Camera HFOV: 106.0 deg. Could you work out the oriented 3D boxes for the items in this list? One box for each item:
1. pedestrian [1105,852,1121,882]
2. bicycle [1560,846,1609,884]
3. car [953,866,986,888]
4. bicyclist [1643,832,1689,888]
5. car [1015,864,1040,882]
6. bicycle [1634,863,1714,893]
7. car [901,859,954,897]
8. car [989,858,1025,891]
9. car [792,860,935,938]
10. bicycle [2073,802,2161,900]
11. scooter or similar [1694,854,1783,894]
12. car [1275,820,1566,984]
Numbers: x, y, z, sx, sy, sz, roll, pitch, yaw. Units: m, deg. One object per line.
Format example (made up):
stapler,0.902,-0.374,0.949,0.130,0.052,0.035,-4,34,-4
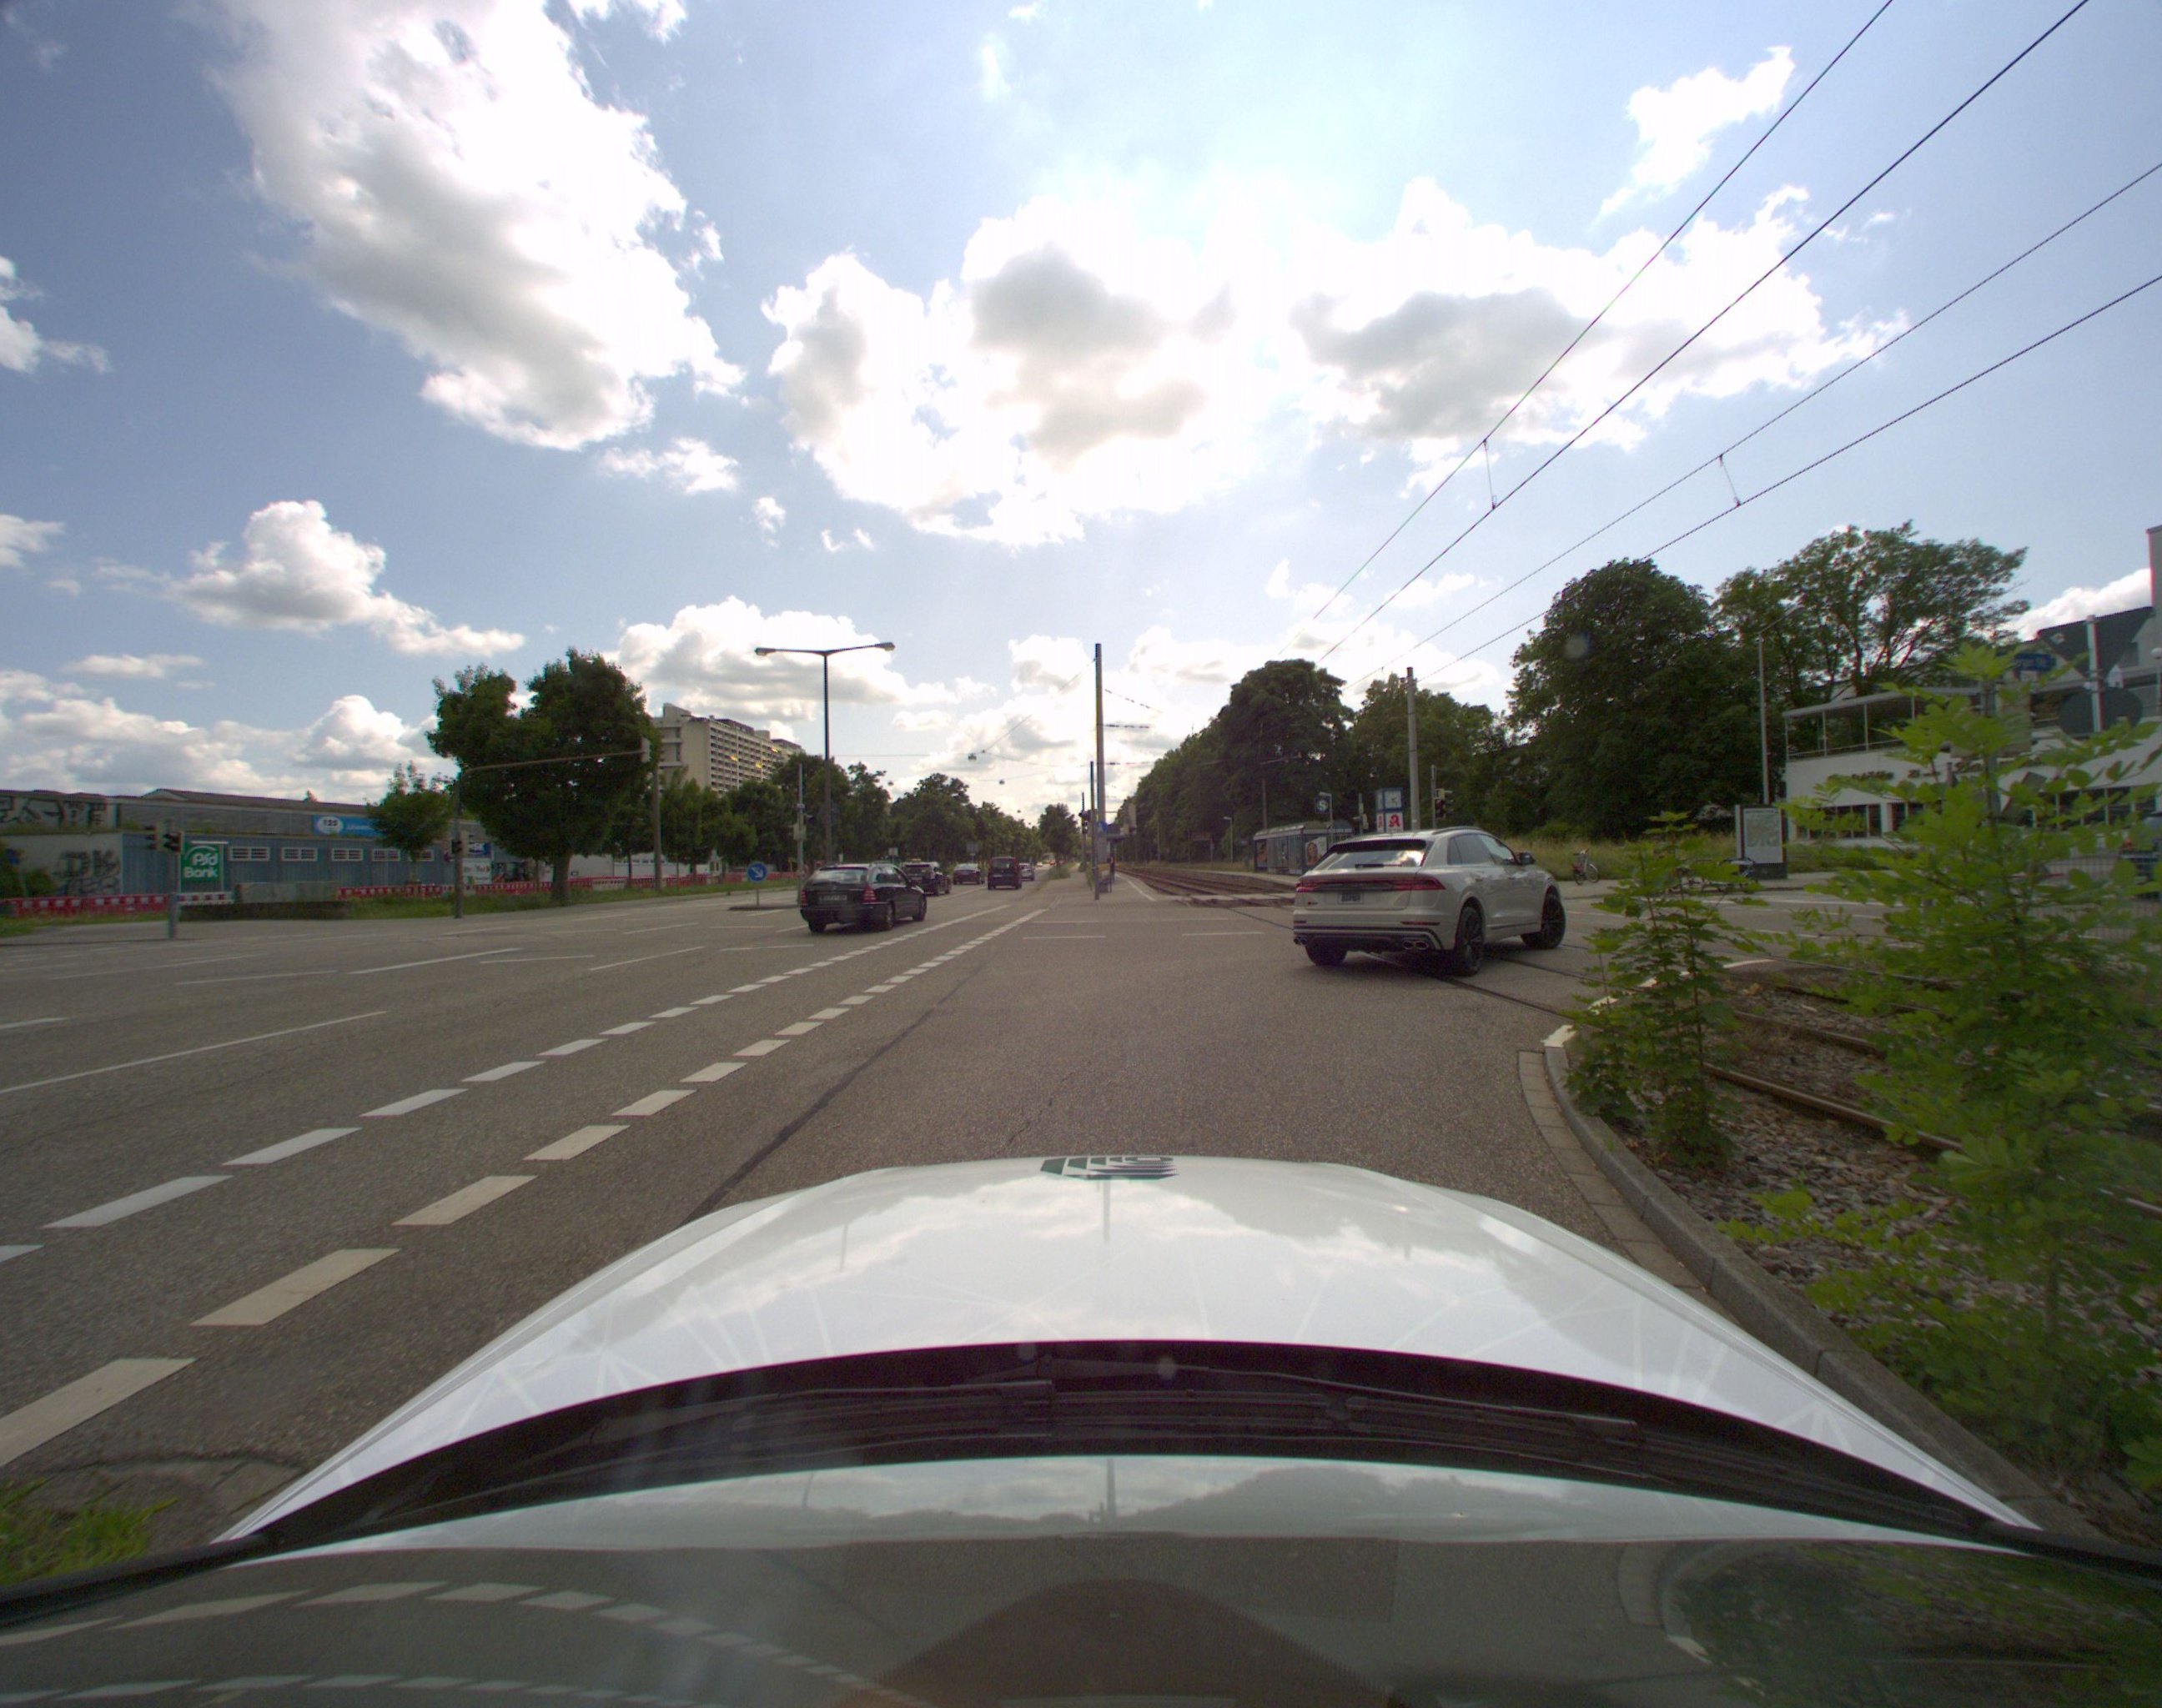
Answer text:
pedestrian,1.632,0.690,42.092,0.653,1.513,0.716,-2,-1,-8
bicycle,16.403,0.351,26.515,1.667,1.132,0.694,-4,1,-34
car,-7.806,1.571,57.182,1.859,1.505,3.997,0,-1,-2
bicyclist,15.754,0.155,21.937,0.835,1.475,0.455,-2,-1,2
car,-4.495,1.601,69.142,1.780,1.525,4.300,0,-1,0
bicycle,15.975,0.646,21.946,1.715,0.765,0.555,-1,-1,2
car,-7.149,1.094,38.373,1.781,1.668,4.336,-1,-1,-2
car,-4.214,1.163,46.890,1.754,1.777,3.907,0,-1,-1
car,-4.619,0.895,18.038,1.747,1.466,4.436,-2,0,3
bicycle,20.433,-0.113,14.190,4.188,1.675,1.996,-2,-1,-6
scooter or similar,17.516,0.530,21.737,1.568,0.979,0.963,-2,-1,3
car,4.641,0.493,10.719,1.963,1.684,4.601,-2,-1,44
